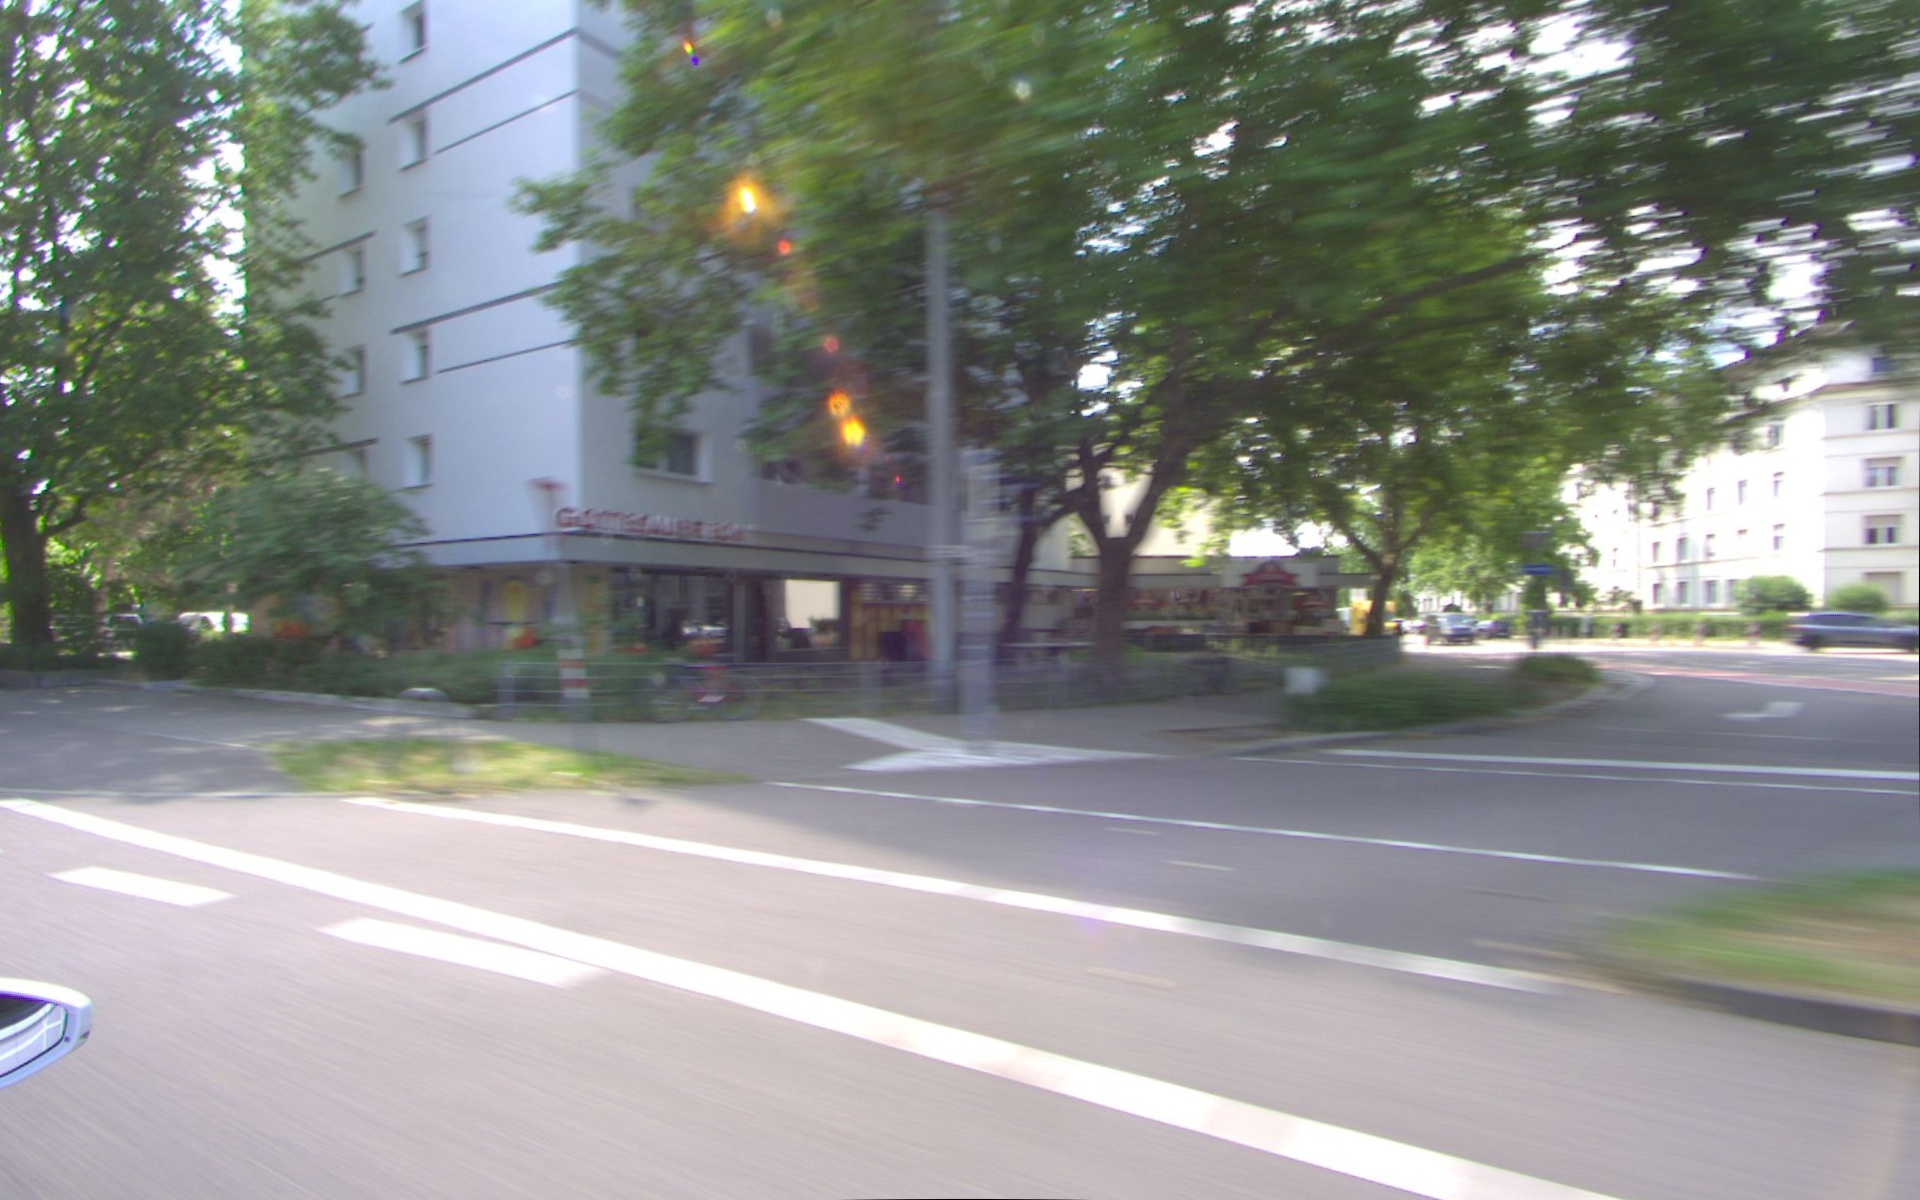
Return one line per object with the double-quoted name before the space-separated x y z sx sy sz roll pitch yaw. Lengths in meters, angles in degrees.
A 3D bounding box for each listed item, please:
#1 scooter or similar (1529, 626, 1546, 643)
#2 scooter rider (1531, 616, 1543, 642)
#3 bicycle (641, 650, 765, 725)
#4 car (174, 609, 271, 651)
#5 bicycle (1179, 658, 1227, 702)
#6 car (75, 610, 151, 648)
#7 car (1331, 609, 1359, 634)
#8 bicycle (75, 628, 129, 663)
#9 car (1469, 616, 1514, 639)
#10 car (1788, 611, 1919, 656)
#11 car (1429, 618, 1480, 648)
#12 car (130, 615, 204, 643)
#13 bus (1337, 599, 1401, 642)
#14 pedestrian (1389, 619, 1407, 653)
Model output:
"scooter or similar" 39.791 2.370 68.966 0.540 1.106 1.291 0 0 8
"scooter rider" 39.798 2.000 69.043 0.518 1.836 0.649 0 0 8
"bicycle" -3.788 1.271 14.835 1.704 1.022 0.531 0 0 -31
"car" -32.315 1.294 43.855 4.701 1.778 1.734 -1 -1 30
"bicycle" 4.815 1.565 19.796 1.199 0.807 0.295 0 0 -41
"car" -42.088 1.417 49.728 4.279 1.838 1.803 -1 -1 34
"car" 43.573 2.408 113.470 2.087 2.676 6.322 0 0 13
"bicycle" -28.001 1.471 32.680 1.808 1.087 0.606 0 0 23
"car" 37.746 1.945 71.170 1.697 1.574 3.633 0 -1 9
"car" 34.873 1.266 38.757 4.268 1.683 1.777 -1 0 43
"car" 29.731 1.971 60.271 1.833 1.683 3.747 0 0 12
"car" -41.010 1.490 51.786 3.989 1.420 1.804 -1 -1 32
"bus" 27.419 1.360 67.384 2.355 2.744 6.370 0 -1 7
"pedestrian" 19.331 1.591 44.173 0.659 1.498 0.575 0 0 17
